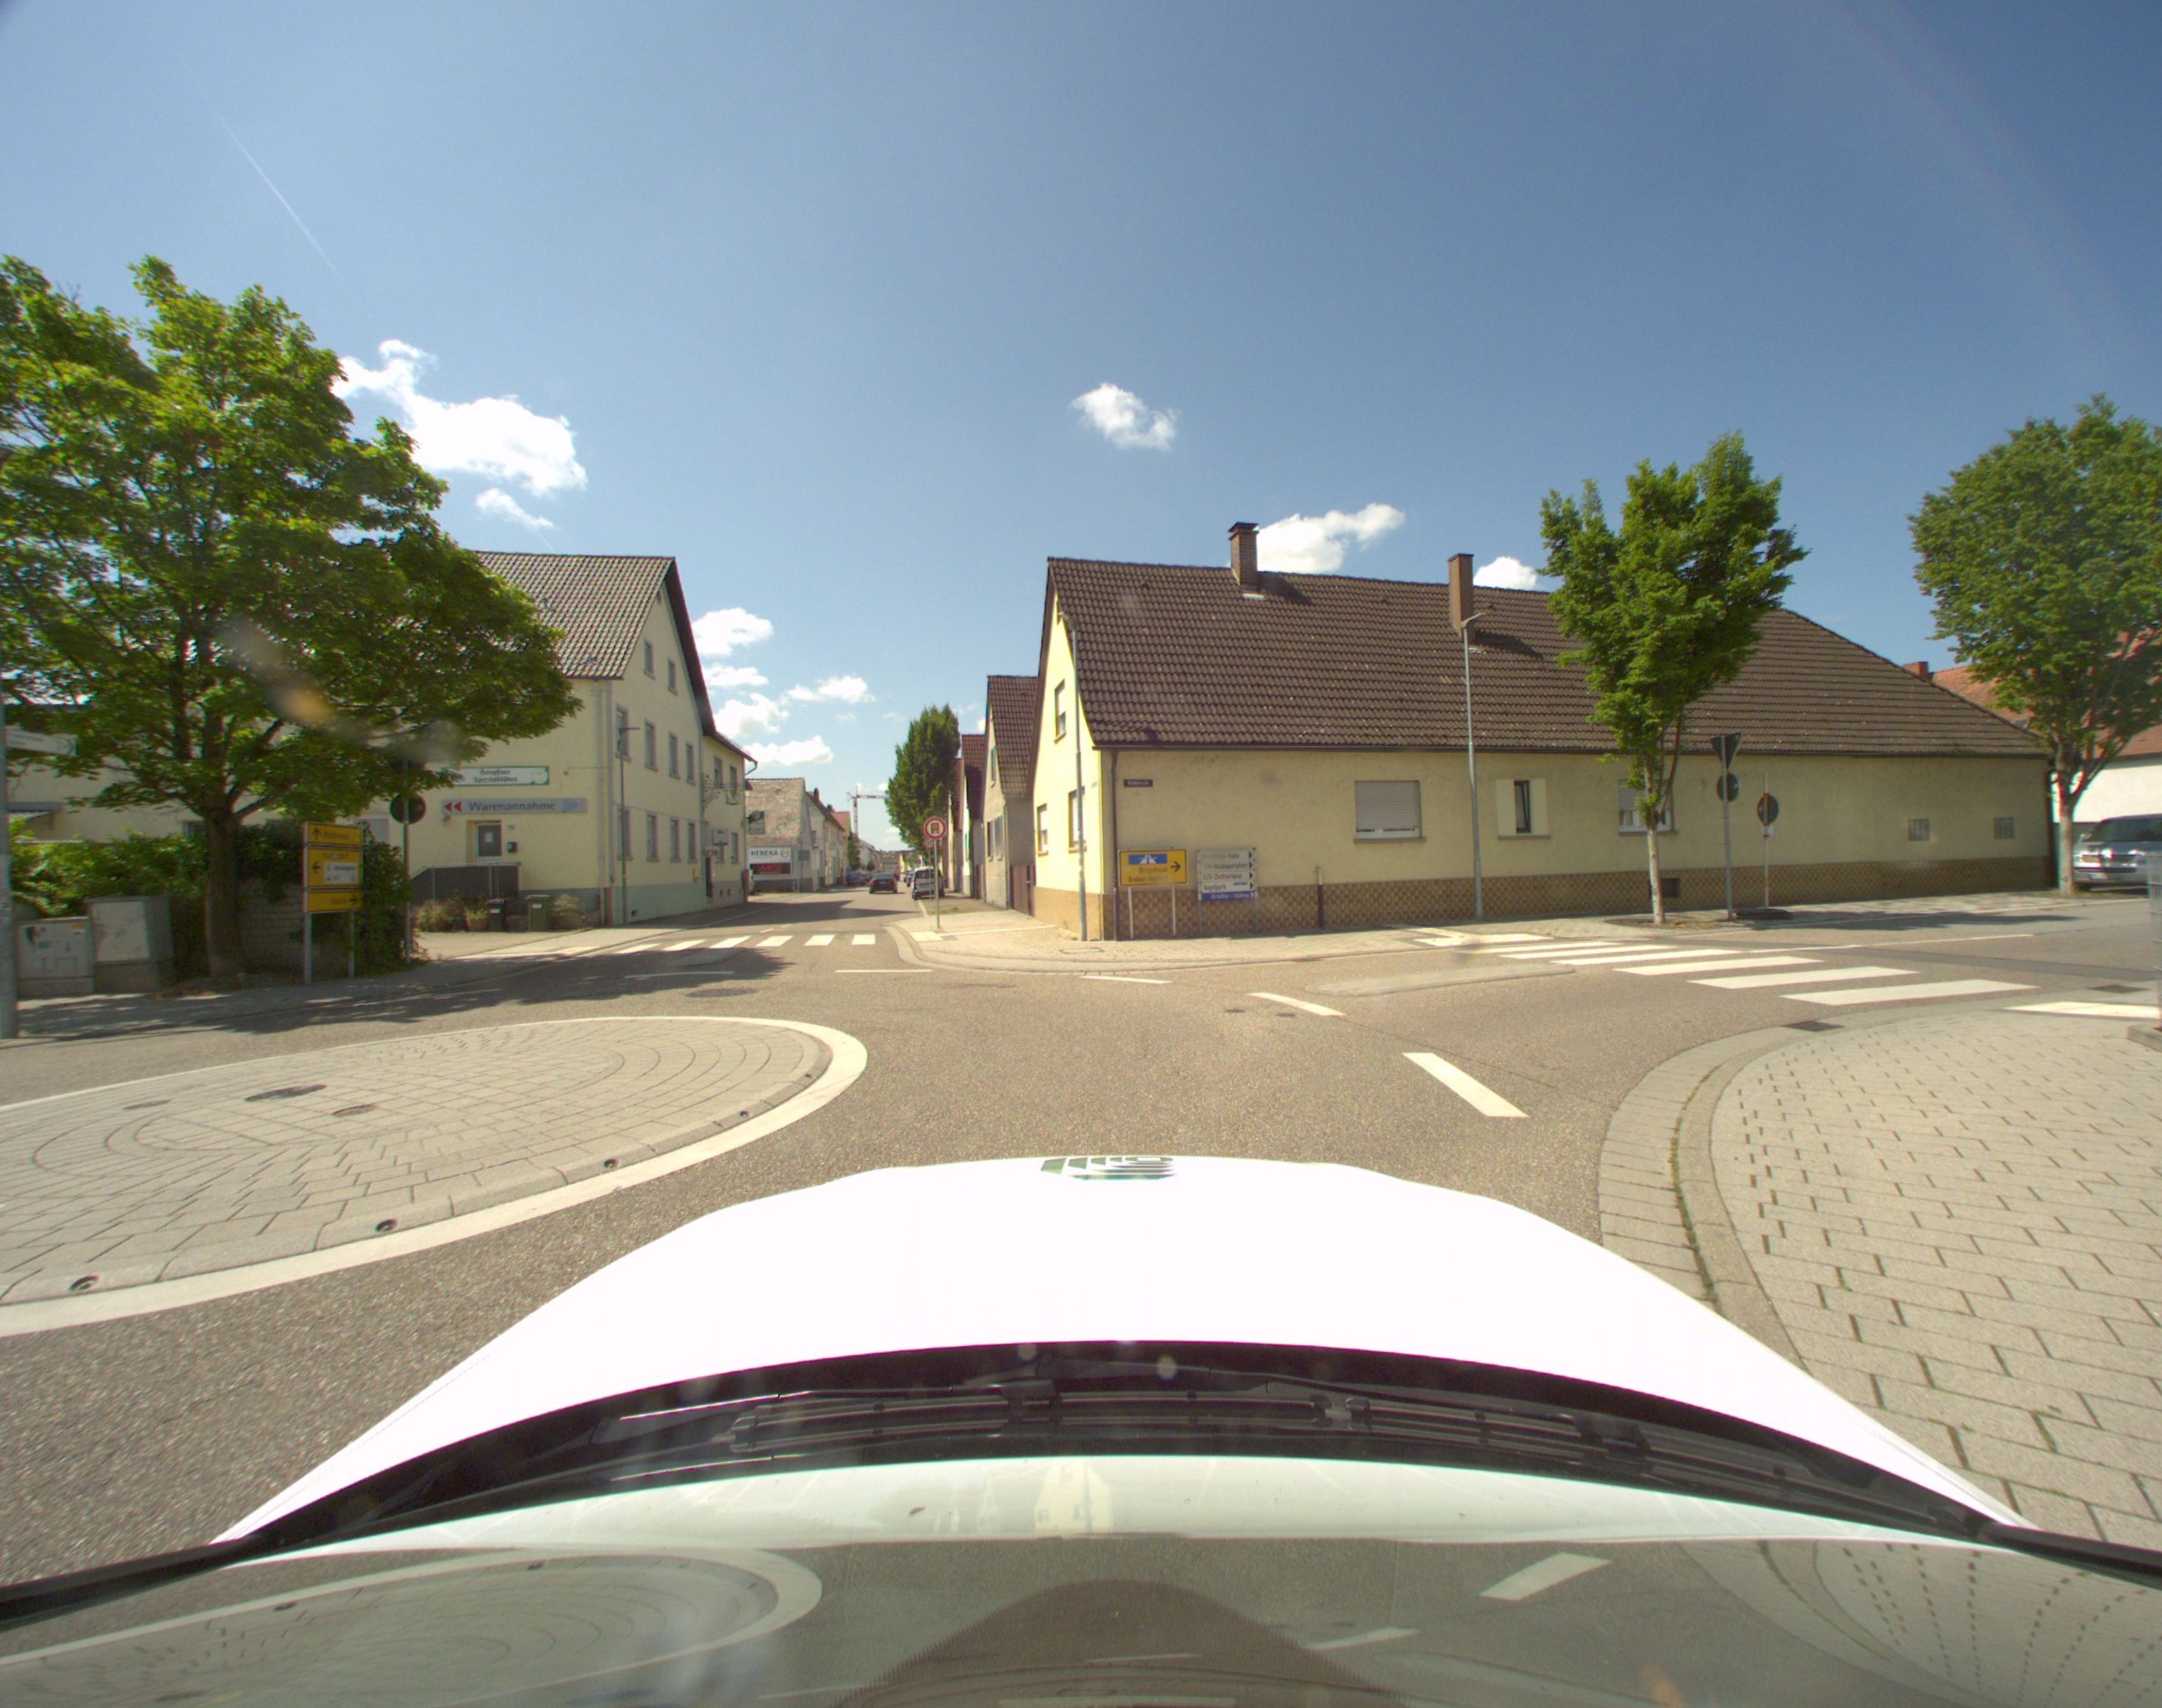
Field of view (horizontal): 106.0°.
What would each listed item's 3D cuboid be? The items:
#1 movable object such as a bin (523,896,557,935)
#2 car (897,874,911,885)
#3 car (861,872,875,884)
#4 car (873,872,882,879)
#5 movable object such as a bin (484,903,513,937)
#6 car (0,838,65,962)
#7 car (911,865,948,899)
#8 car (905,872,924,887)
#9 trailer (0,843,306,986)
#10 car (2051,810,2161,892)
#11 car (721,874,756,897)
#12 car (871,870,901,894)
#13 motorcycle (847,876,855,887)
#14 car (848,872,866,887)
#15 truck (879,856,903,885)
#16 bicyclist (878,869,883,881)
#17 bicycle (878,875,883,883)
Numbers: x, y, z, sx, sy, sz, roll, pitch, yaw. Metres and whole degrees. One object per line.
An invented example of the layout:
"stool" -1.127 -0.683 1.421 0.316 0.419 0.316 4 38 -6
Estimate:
"movable object such as a bin" -15.826 1.797 23.832 0.600 1.079 0.656 -2 -1 -10
"car" -23.706 3.379 109.151 1.721 1.355 4.138 -1 -1 -12
"car" -30.909 3.455 118.388 1.811 1.589 3.981 -1 -1 -13
"car" -46.616 4.861 186.833 1.811 1.589 3.982 -1 -1 -13
"movable object such as a bin" -16.815 1.891 23.502 0.479 0.928 0.545 -2 -1 -10
"car" -22.904 0.919 15.074 1.938 2.567 5.623 0 -1 -12
"car" -8.630 1.556 46.068 1.722 1.790 4.123 -3 -1 -14
"car" -16.709 2.566 81.827 1.720 1.461 4.140 -1 -1 -11
"trailer" -17.691 1.033 15.661 1.880 2.336 4.504 0 -1 -12
"car" 27.313 -0.132 20.537 4.472 1.938 1.989 -2 0 -16
"car" -24.876 2.245 59.280 1.722 1.556 4.178 0 -1 -14
"car" -13.860 1.979 58.080 1.903 1.564 4.458 -1 -1 -11
"motorcycle" -25.531 3.021 90.416 0.847 1.170 2.457 0 -2 -14
"car" -25.970 2.917 94.363 1.811 1.589 3.981 -1 -1 -13
"truck" -29.176 2.610 125.320 3.146 4.251 9.264 0 -2 -11
"bicyclist" -34.474 3.639 139.950 0.741 2.059 0.840 0 -2 -16
"bicycle" -34.483 4.297 139.982 0.752 1.308 2.671 0 -2 -14
